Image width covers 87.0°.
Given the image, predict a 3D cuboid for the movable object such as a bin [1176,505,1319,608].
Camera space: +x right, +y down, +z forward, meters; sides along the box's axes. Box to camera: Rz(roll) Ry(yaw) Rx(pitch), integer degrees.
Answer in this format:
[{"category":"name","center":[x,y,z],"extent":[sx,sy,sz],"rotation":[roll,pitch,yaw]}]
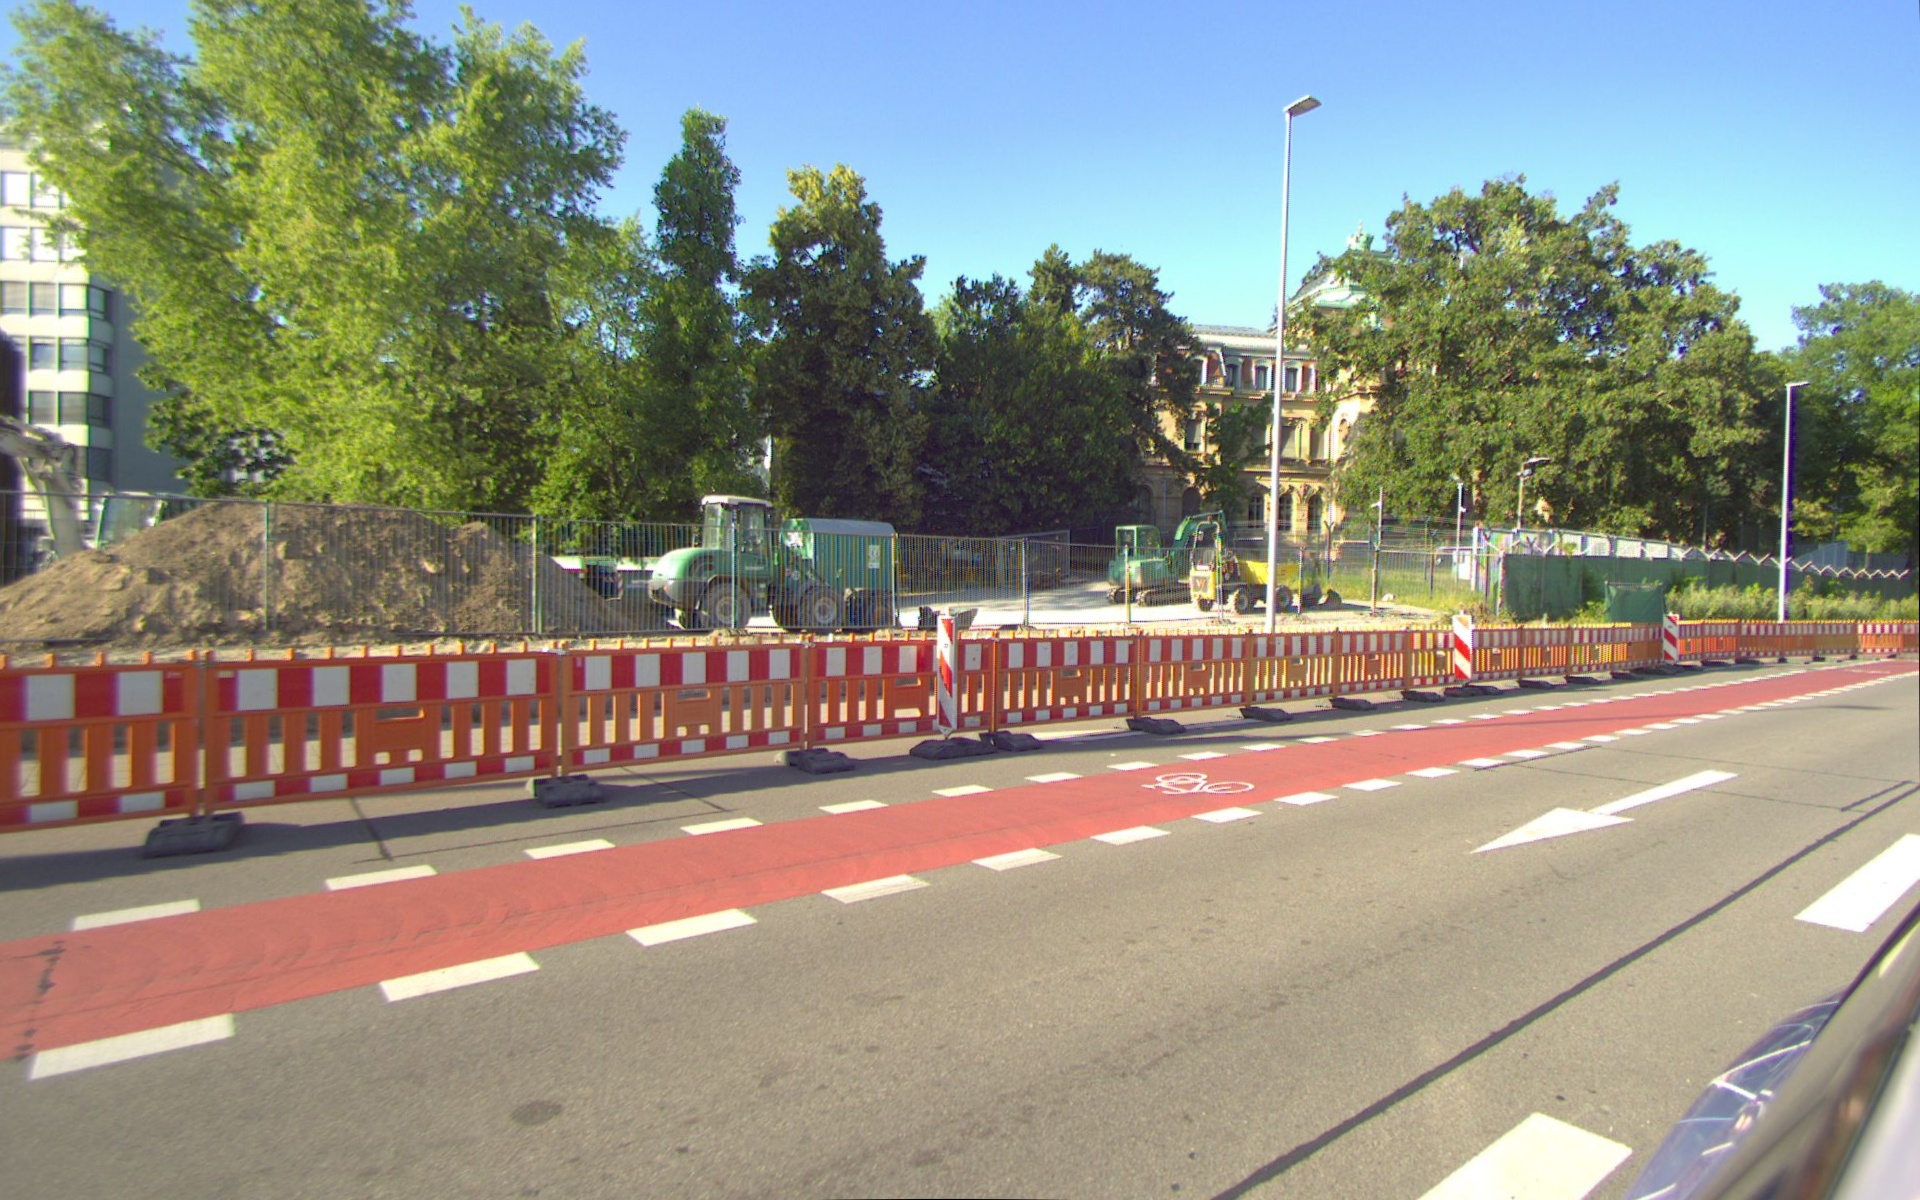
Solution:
[{"category":"movable object such as a bin","center":[8.755,-1.263,30.767],"extent":[3.921,2.940,2.002],"rotation":[1,1,-32]}]

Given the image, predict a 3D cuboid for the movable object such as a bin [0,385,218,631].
[{"category":"movable object such as a bin","center":[-15.947,-1.459,17.524],"extent":[2.802,3.602,6.094],"rotation":[1,1,-13]}]

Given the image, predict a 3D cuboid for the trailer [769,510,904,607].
[{"category":"trailer","center":[-4.420,-1.567,36.395],"extent":[3.921,3.126,2.614],"rotation":[-7,7,-41]}]

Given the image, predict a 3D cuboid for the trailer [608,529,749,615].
[{"category":"trailer","center":[-8.902,-0.960,31.704],"extent":[2.188,2.349,5.040],"rotation":[-6,7,-41]}]

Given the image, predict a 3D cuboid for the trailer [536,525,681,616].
[{"category":"trailer","center":[-10.436,-0.941,29.818],"extent":[2.188,2.349,5.040],"rotation":[-6,7,-41]}]

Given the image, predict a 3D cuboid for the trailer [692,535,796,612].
[{"category":"trailer","center":[-7.302,-0.951,34.175],"extent":[2.188,2.349,2.952],"rotation":[-7,7,-41]}]

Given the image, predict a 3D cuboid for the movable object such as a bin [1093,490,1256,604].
[{"category":"movable object such as a bin","center":[7.350,-1.704,34.485],"extent":[5.393,3.601,2.284],"rotation":[0,1,-34]}]

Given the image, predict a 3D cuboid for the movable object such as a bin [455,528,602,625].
[{"category":"movable object such as a bin","center":[-12.083,-0.739,28.149],"extent":[2.188,2.349,5.040],"rotation":[-6,7,-41]}]

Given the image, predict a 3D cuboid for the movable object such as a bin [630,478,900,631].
[{"category":"movable object such as a bin","center":[-3.880,-0.854,20.544],"extent":[4.853,2.737,2.281],"rotation":[0,2,-39]}]
